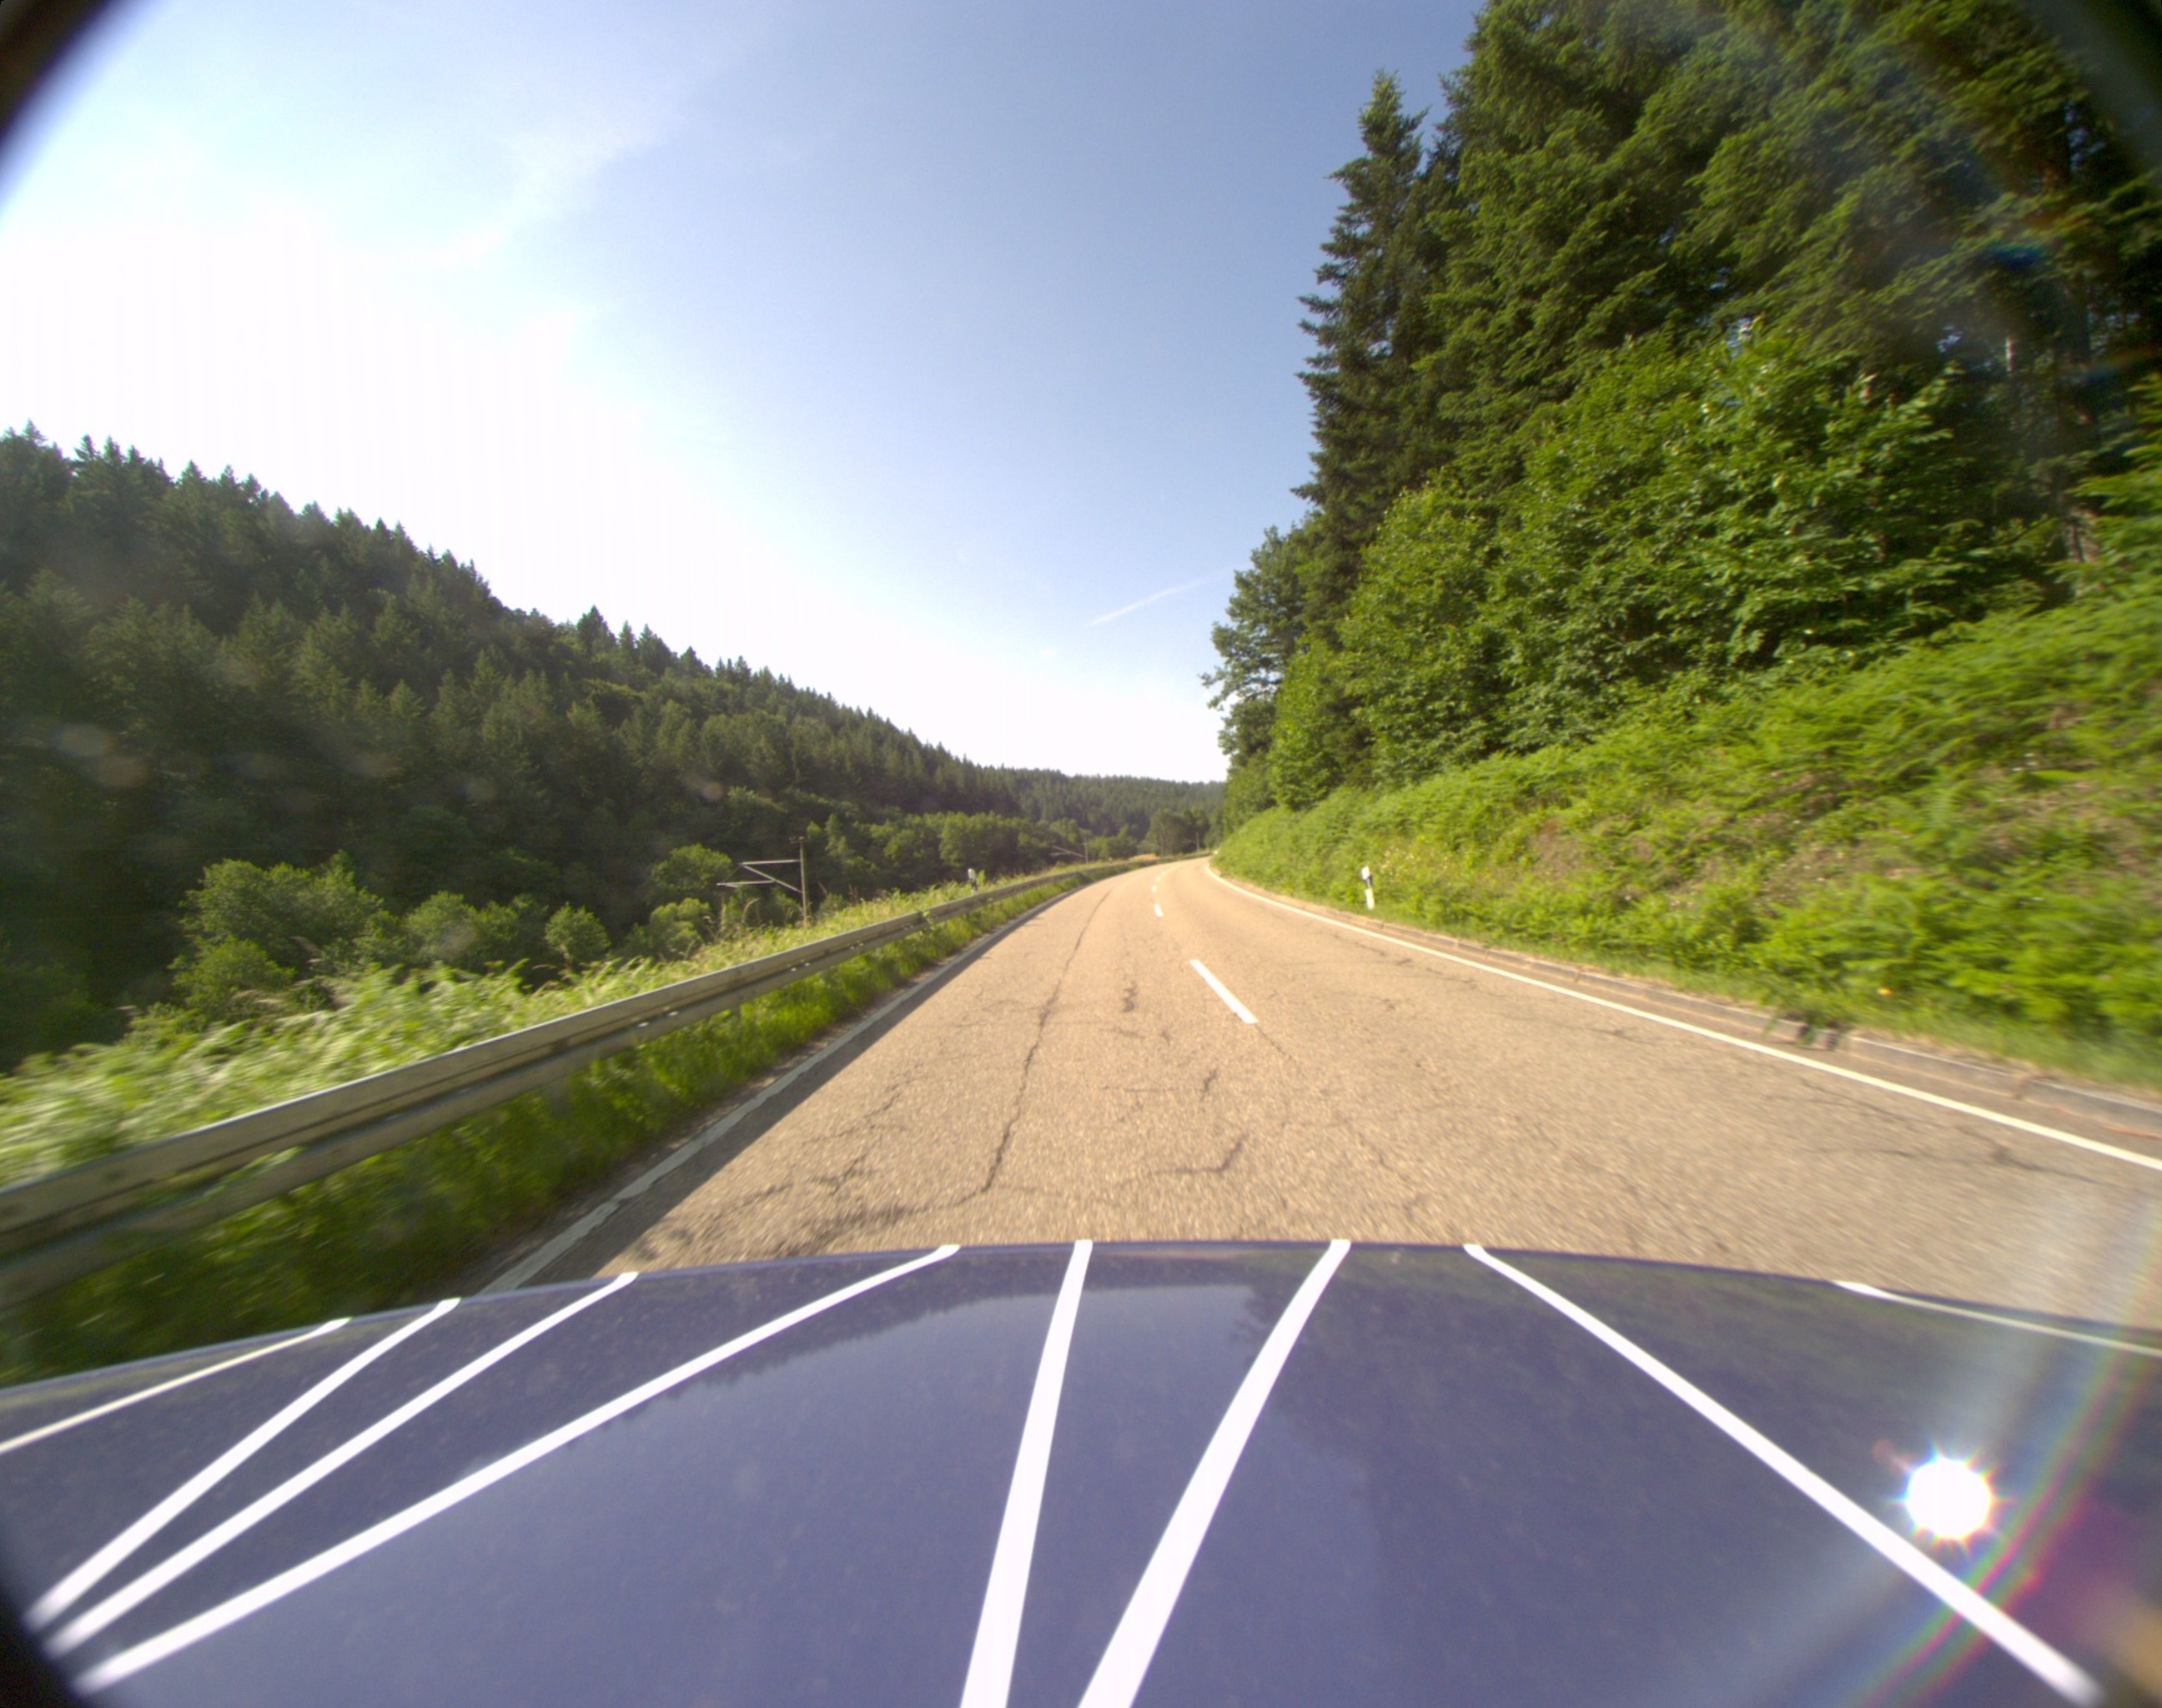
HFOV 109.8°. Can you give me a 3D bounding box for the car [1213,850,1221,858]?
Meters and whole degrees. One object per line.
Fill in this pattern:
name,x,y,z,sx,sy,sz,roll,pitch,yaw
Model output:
car,33.071,-0.026,185.277,1.702,1.543,3.790,-4,1,8
